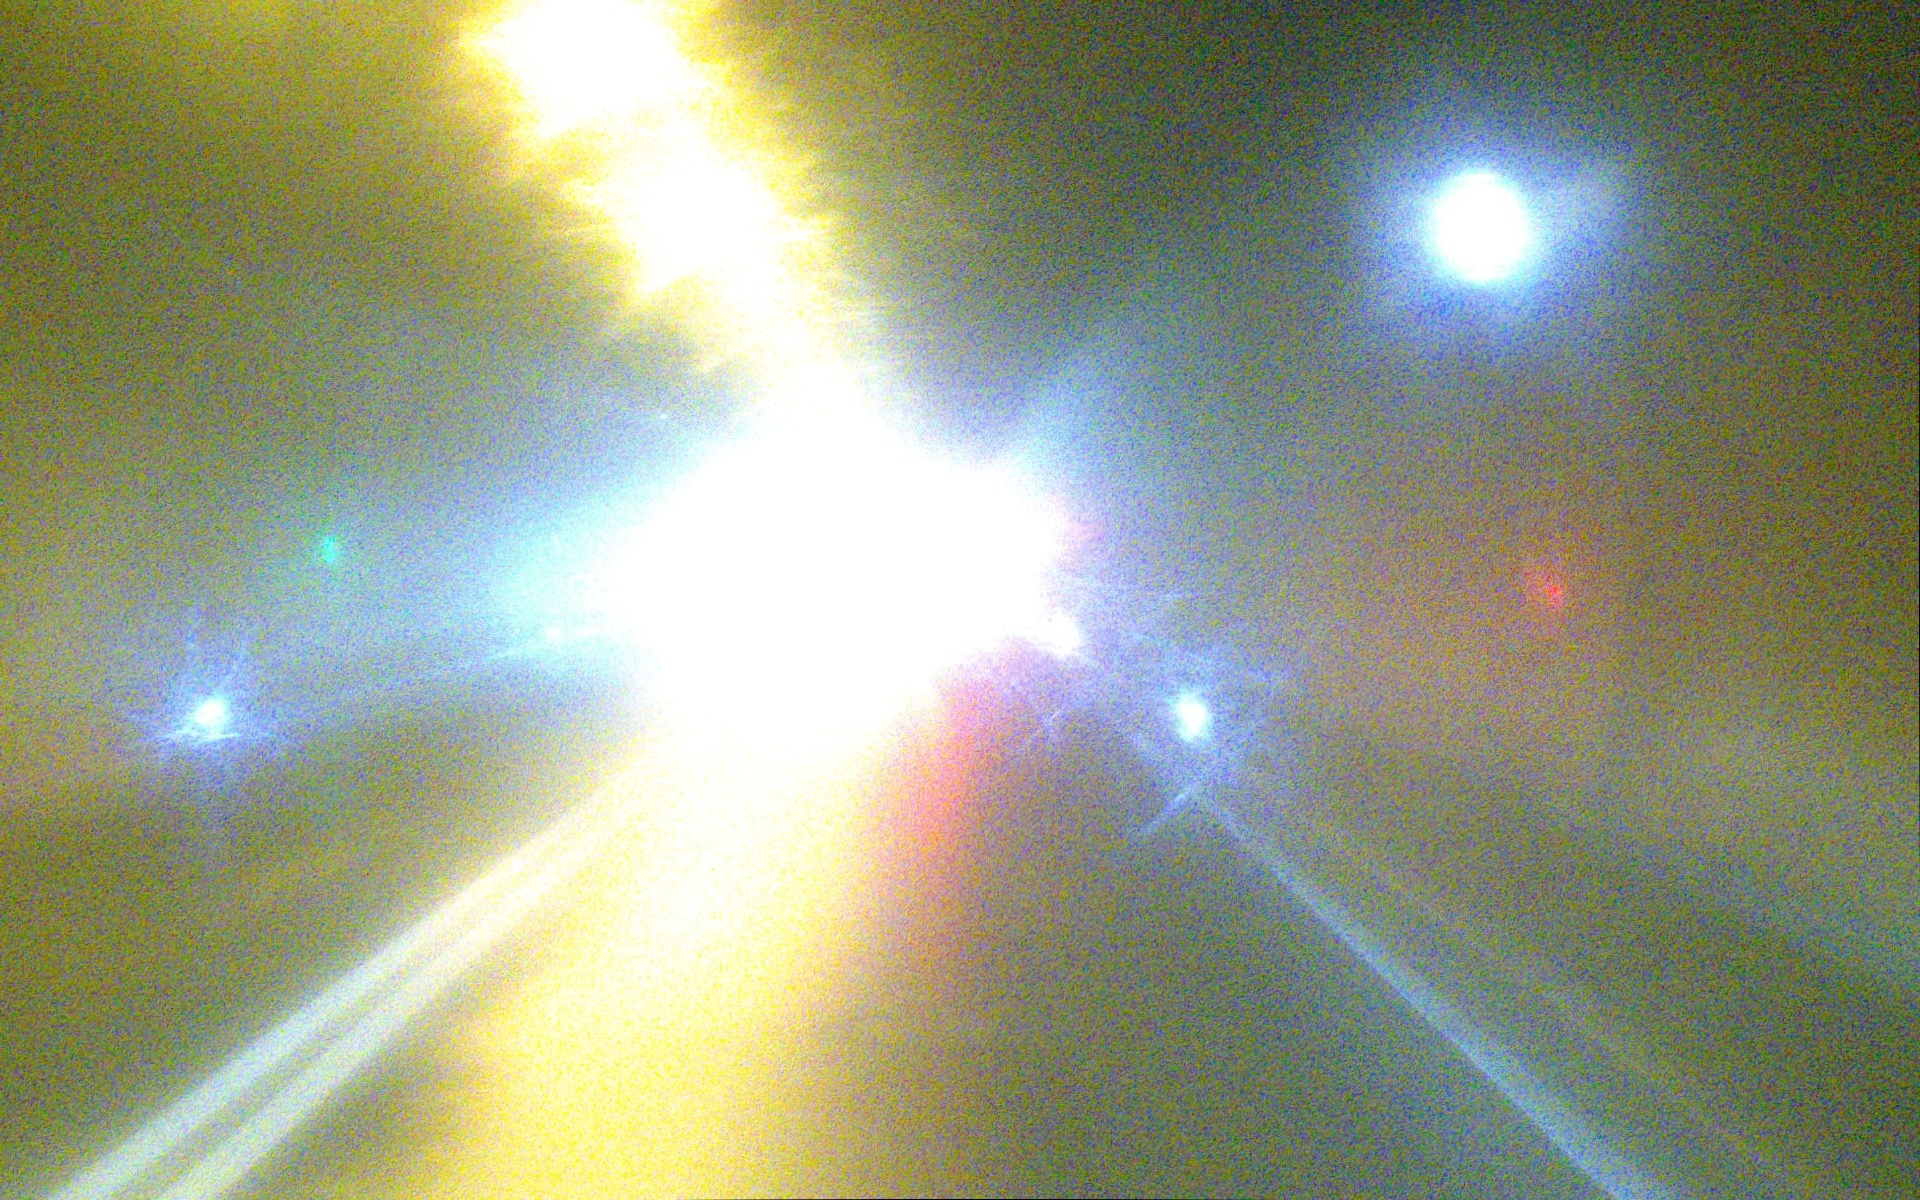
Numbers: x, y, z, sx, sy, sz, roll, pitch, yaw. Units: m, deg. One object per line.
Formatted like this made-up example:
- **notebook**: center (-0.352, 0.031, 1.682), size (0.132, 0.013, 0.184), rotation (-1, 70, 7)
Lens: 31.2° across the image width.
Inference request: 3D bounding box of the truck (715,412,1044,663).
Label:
- **truck**: center (-0.891, -0.741, 41.643), size (3.535, 2.684, 8.956), rotation (0, 1, 0)
